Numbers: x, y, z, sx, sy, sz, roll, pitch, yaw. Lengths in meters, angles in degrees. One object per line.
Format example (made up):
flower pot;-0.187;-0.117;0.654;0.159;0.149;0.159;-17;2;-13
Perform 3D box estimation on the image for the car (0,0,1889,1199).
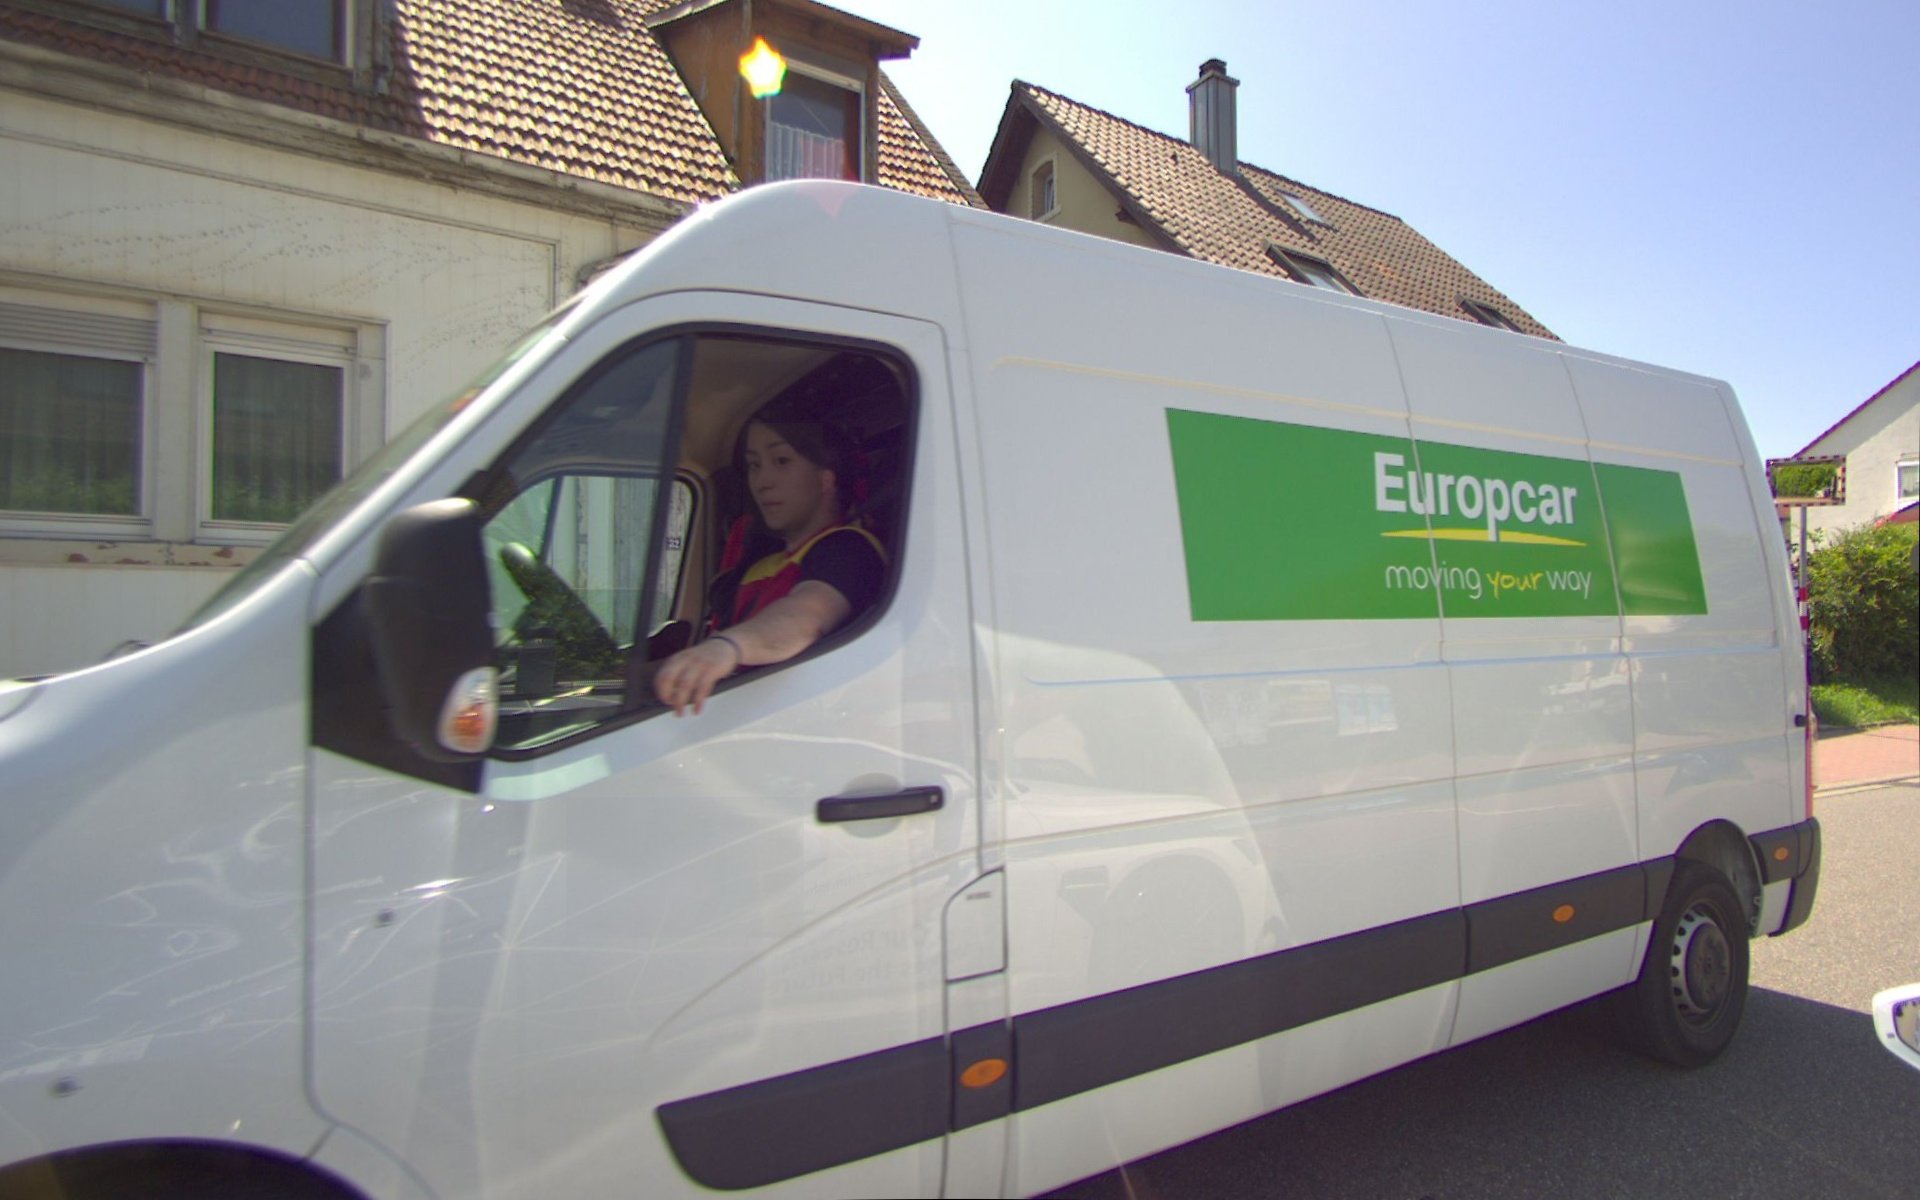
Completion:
car;0.540;0.325;3.348;5.996;2.493;2.020;1;-3;-30
